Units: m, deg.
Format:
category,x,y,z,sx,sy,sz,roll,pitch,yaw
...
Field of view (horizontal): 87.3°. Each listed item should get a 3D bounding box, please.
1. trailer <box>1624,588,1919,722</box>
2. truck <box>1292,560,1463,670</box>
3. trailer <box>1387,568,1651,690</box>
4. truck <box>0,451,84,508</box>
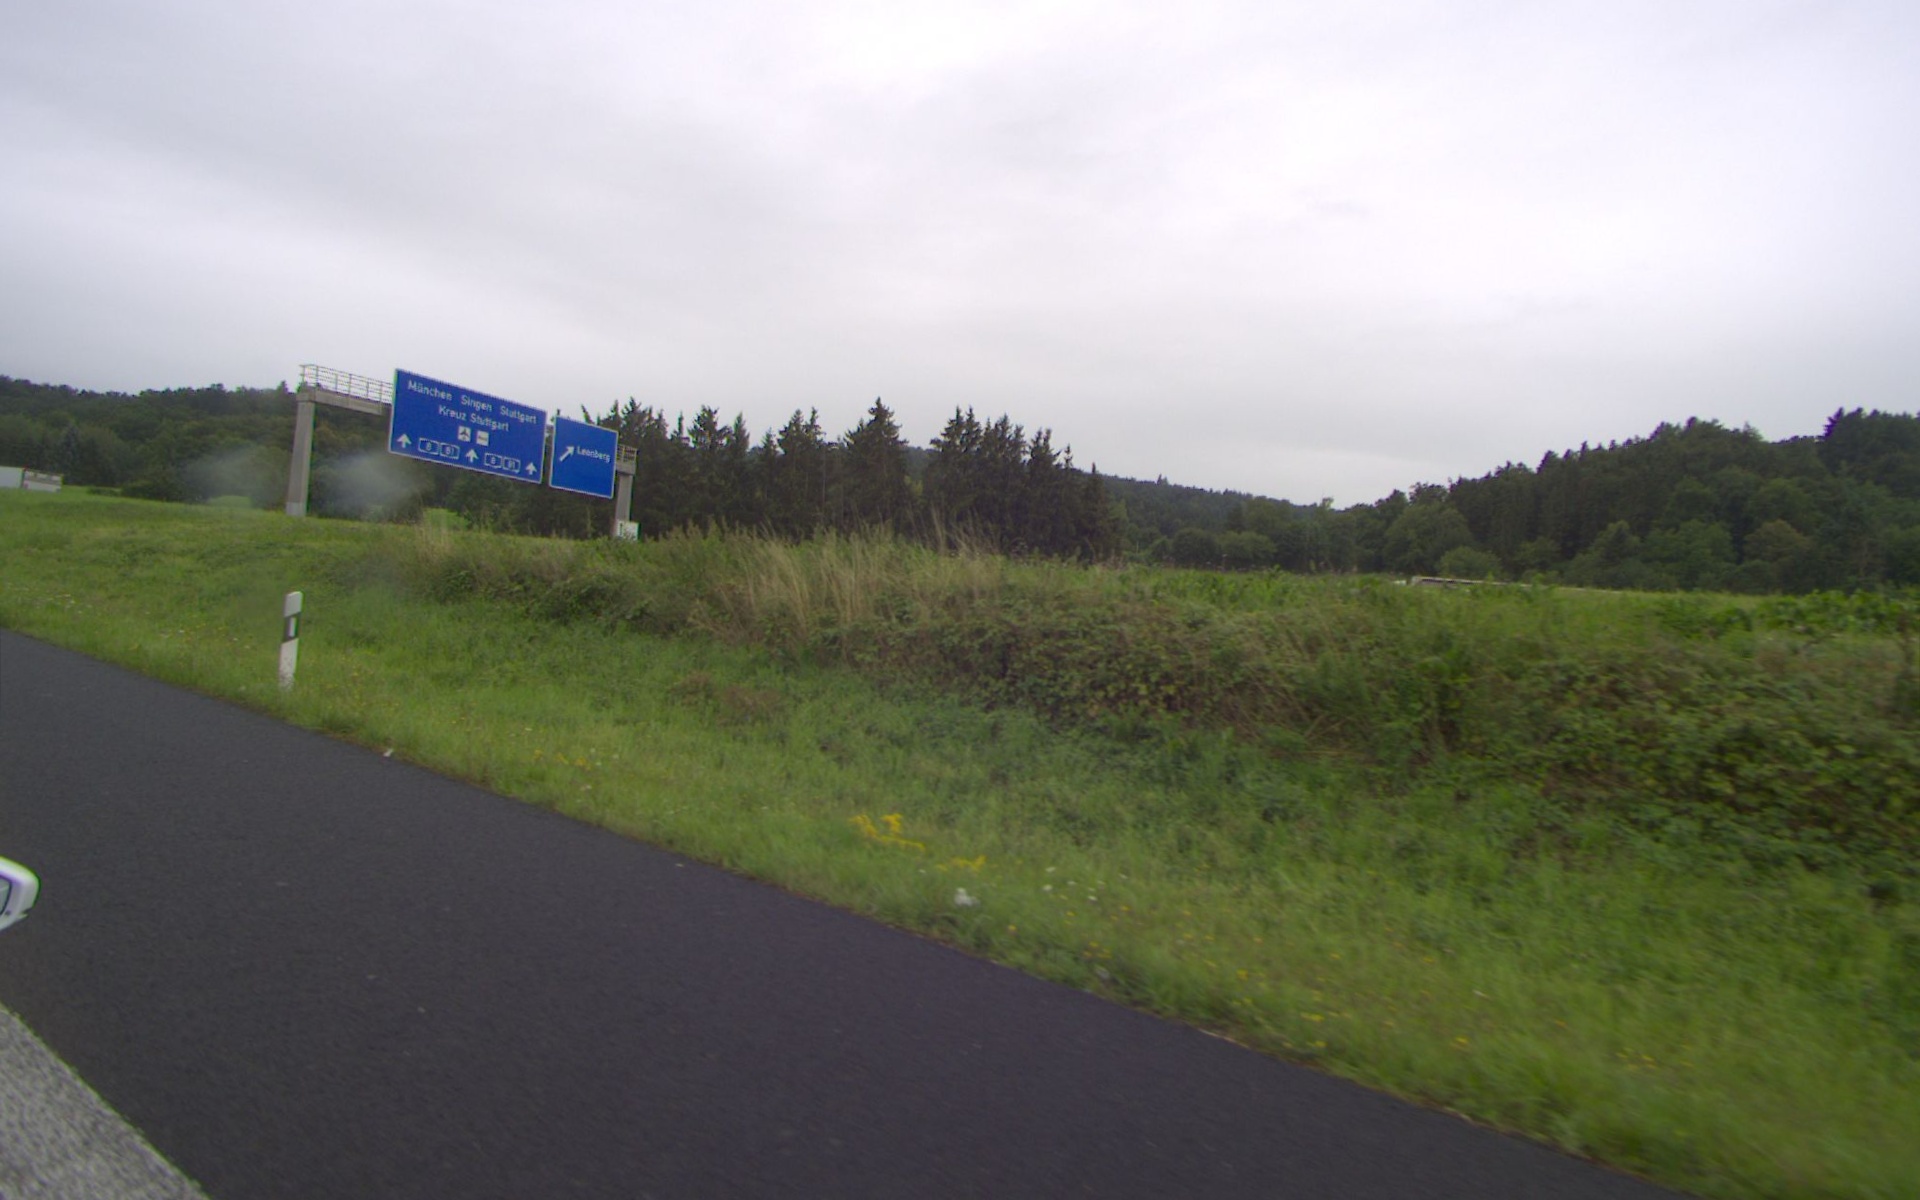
category,x,y,z,sx,sy,sz,roll,pitch,yaw
trailer,28.663,1.907,35.541,7.938,3.568,3.089,7,-2,24
truck,16.709,0.628,40.607,5.818,3.568,2.949,7,-1,21
trailer,21.152,1.087,38.753,8.265,3.568,2.949,7,-1,22
truck,-75.543,-9.854,81.691,8.129,3.701,3.835,6,-2,29
